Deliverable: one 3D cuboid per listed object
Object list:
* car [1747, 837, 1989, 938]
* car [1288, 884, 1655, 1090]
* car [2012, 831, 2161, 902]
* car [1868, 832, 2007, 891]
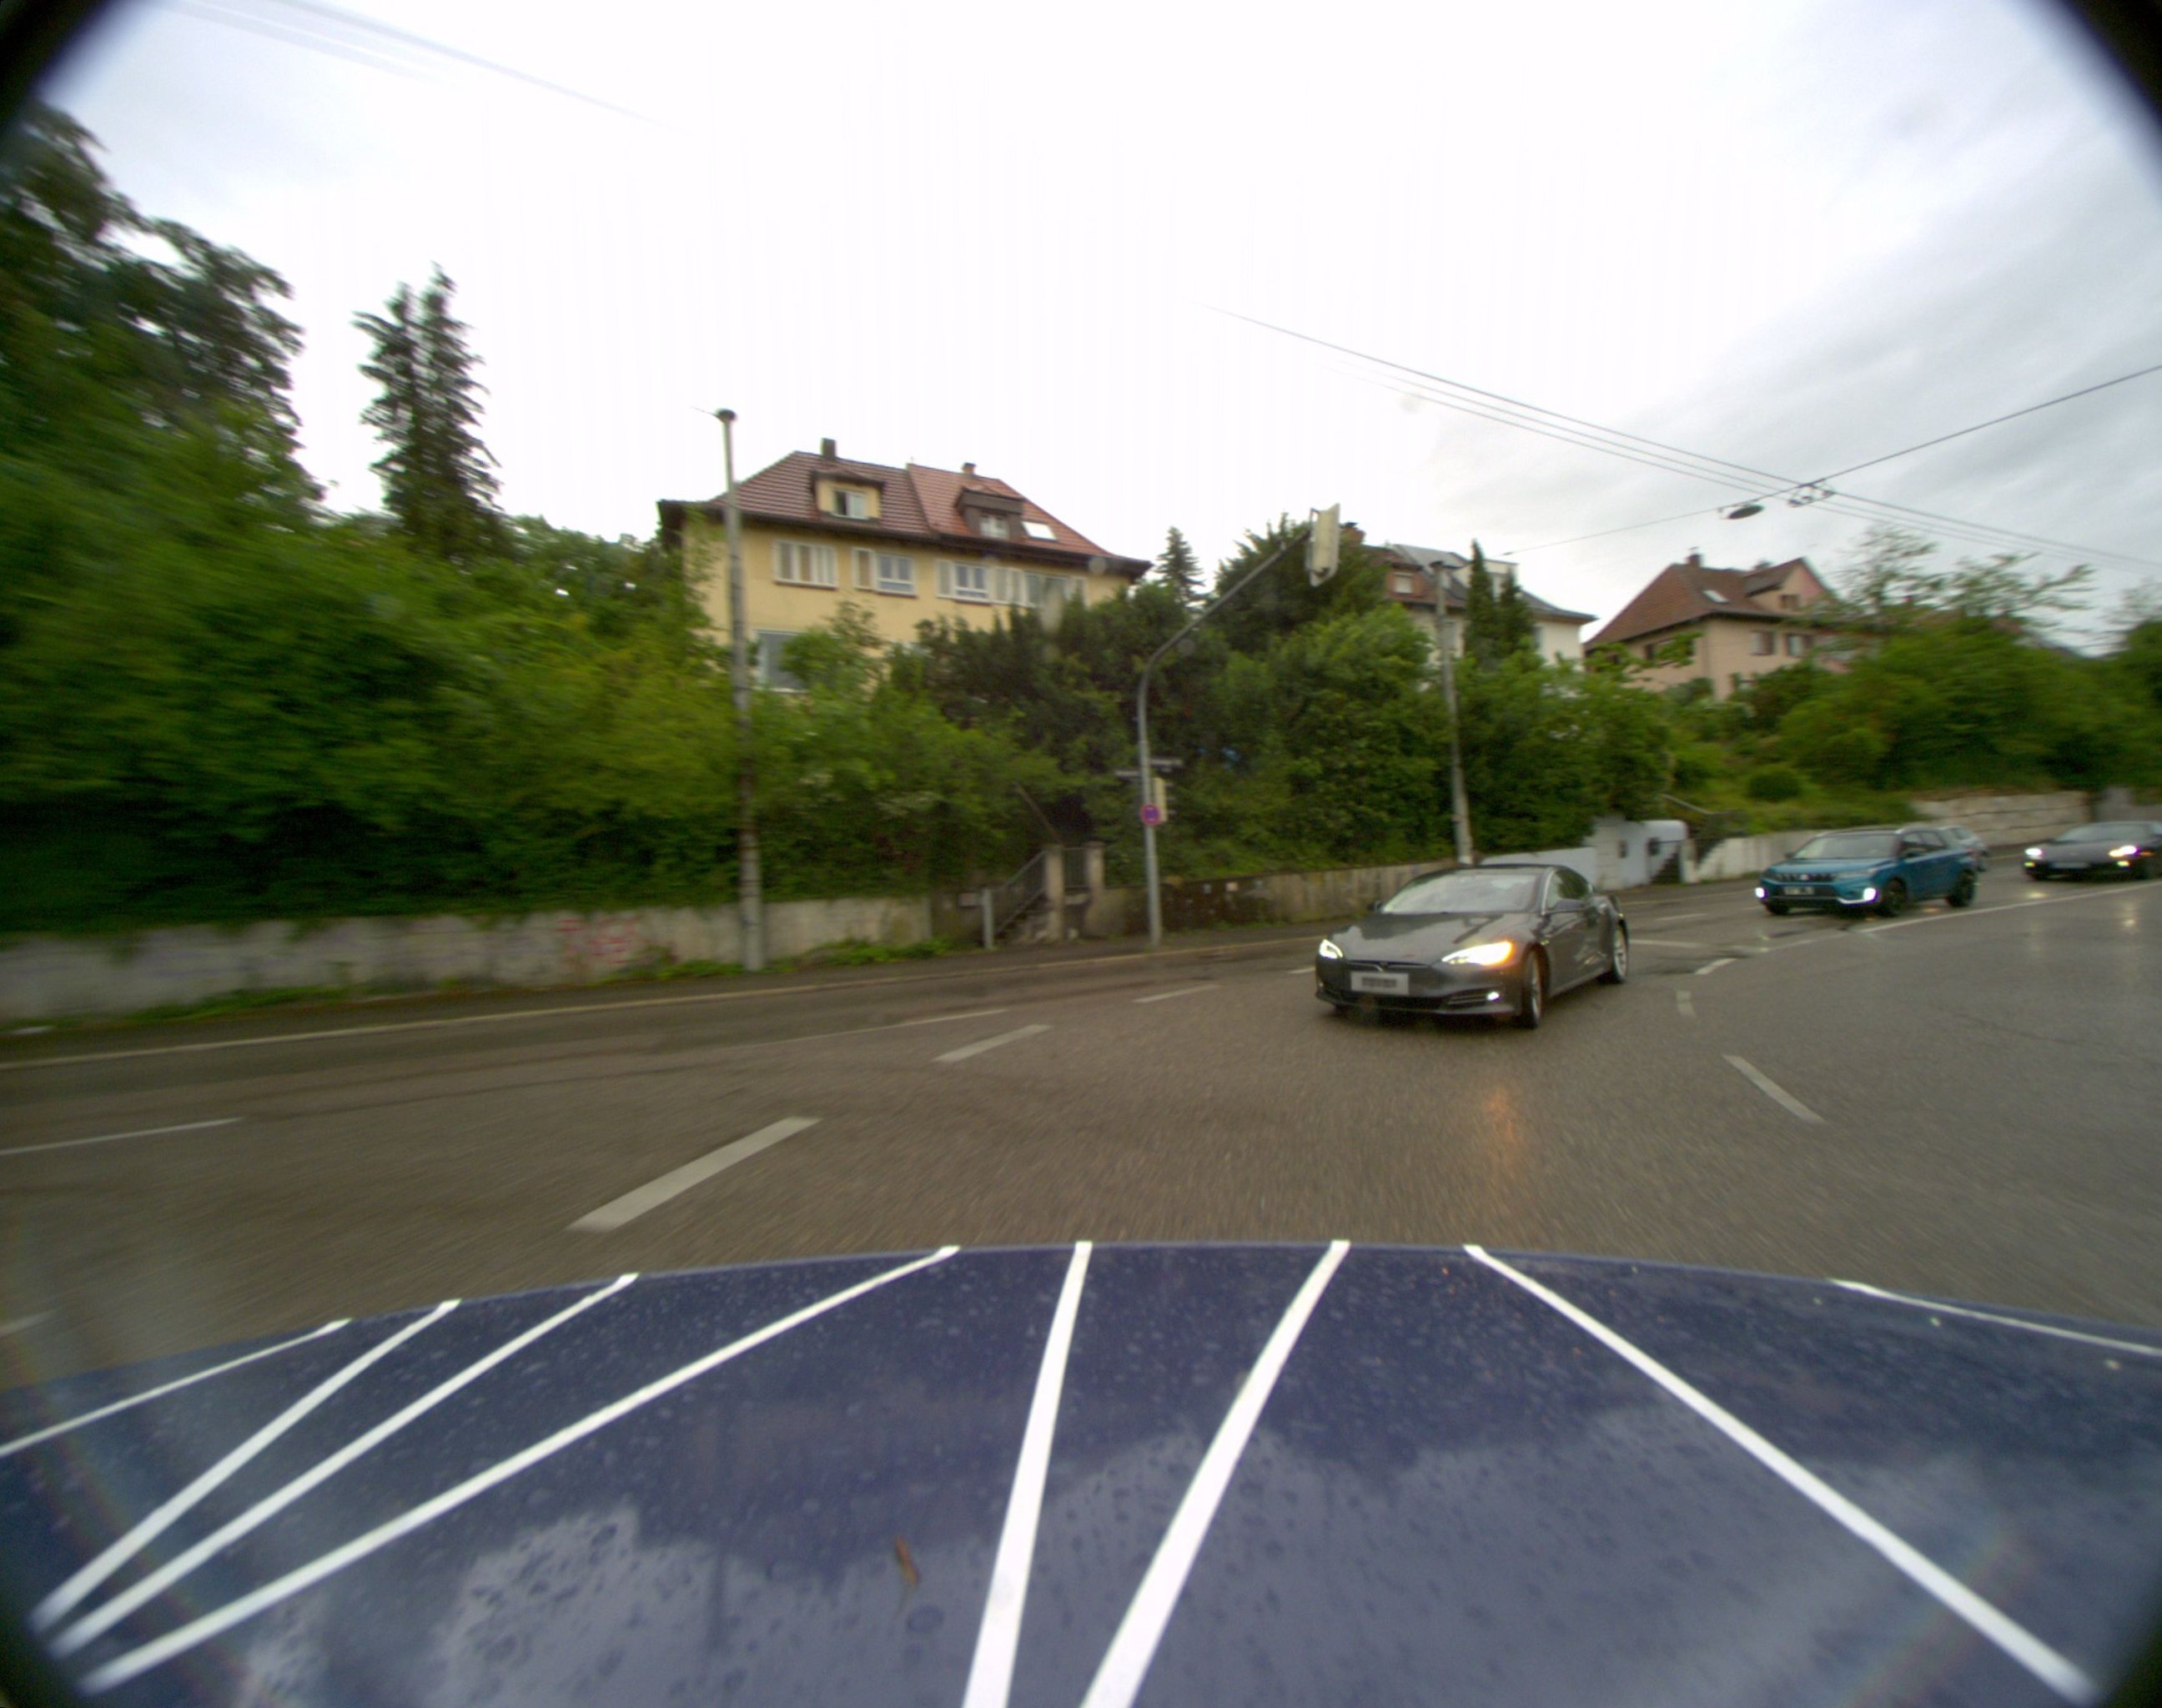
[{"bbox_3d":[15.042,0.590,14.539,4.045,1.600,1.799,-2,-2,-23],"label":"car"},{"bbox_3d":[4.260,1.140,7.973,4.332,1.383,1.832,-2,-2,-40],"label":"car"},{"bbox_3d":[24.280,0.250,17.924,4.045,1.451,1.756,-2,0,-21],"label":"car"},{"bbox_3d":[25.186,0.232,22.356,3.368,1.442,1.551,-4,-1,-21],"label":"car"}]
